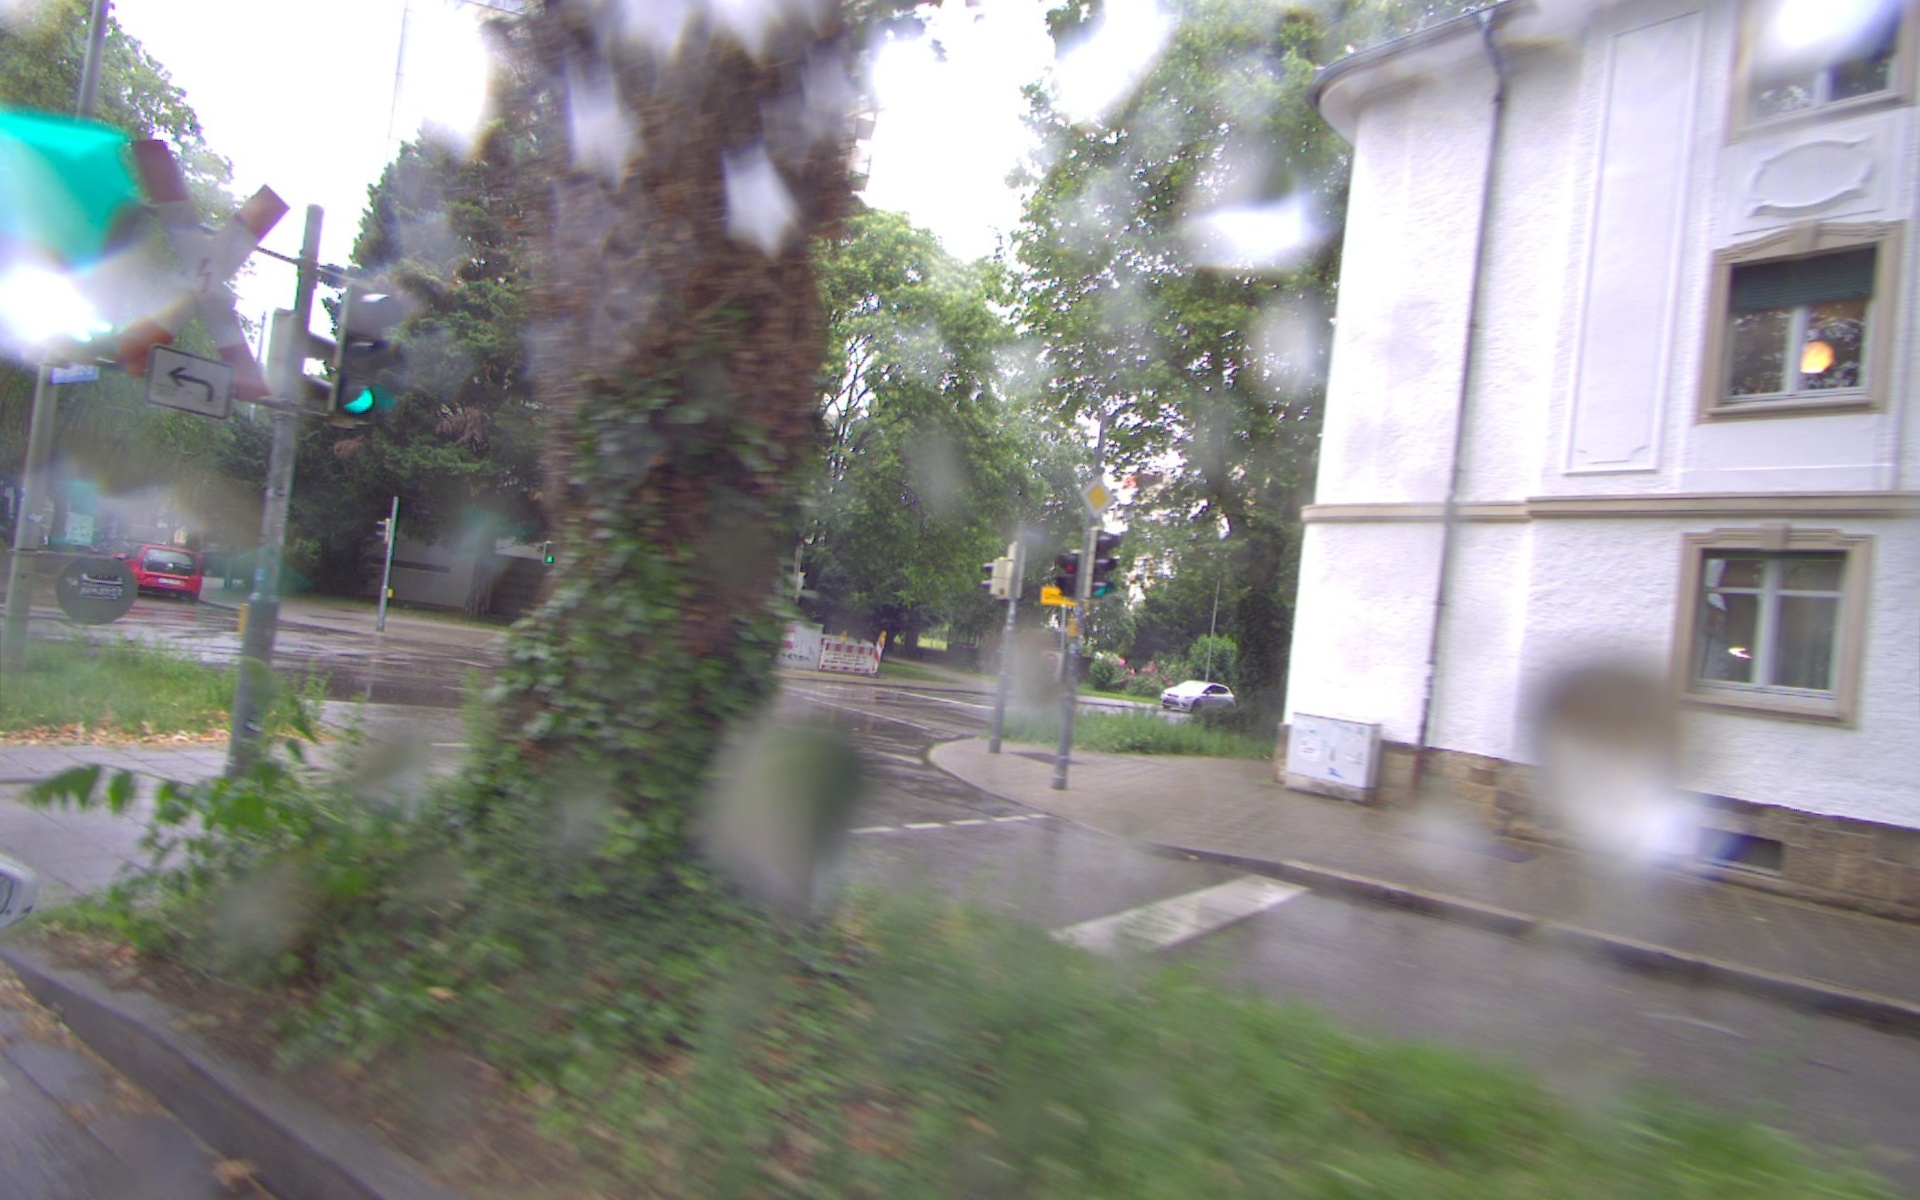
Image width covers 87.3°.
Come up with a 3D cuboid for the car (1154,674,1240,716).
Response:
[{"bbox_3d":[10.634,4.246,44.985,1.829,1.473,3.979,5,-3,45],"label":"car"}]

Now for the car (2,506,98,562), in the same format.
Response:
[{"bbox_3d":[-60.072,-4.358,66.428,4.680,2.982,2.043,6,-1,11],"label":"car"}]

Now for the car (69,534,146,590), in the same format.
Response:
[{"bbox_3d":[-31.781,-1.444,37.464,1.779,1.747,3.951,8,-3,-44],"label":"car"}]

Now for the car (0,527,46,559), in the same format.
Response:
[{"bbox_3d":[-55.116,-3.429,57.542,1.974,1.565,3.980,5,-3,44],"label":"car"}]

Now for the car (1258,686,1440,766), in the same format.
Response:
[{"bbox_3d":[9.648,3.119,25.133,1.742,1.399,3.771,9,-3,-44],"label":"car"}]

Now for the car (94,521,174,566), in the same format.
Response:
[{"bbox_3d":[-68.693,-4.653,83.674,4.683,2.982,2.001,7,-1,0],"label":"car"}]

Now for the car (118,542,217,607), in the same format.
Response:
[{"bbox_3d":[-23.588,-0.786,29.886,1.788,1.515,3.950,9,-3,-44],"label":"car"}]

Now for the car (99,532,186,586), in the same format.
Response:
[{"bbox_3d":[-26.874,-1.369,33.031,1.780,1.363,3.879,10,-2,-44],"label":"car"}]

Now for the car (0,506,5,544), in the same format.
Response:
[{"bbox_3d":[-23.827,-1.655,22.086,1.974,1.503,3.980,5,-3,44],"label":"car"}]
